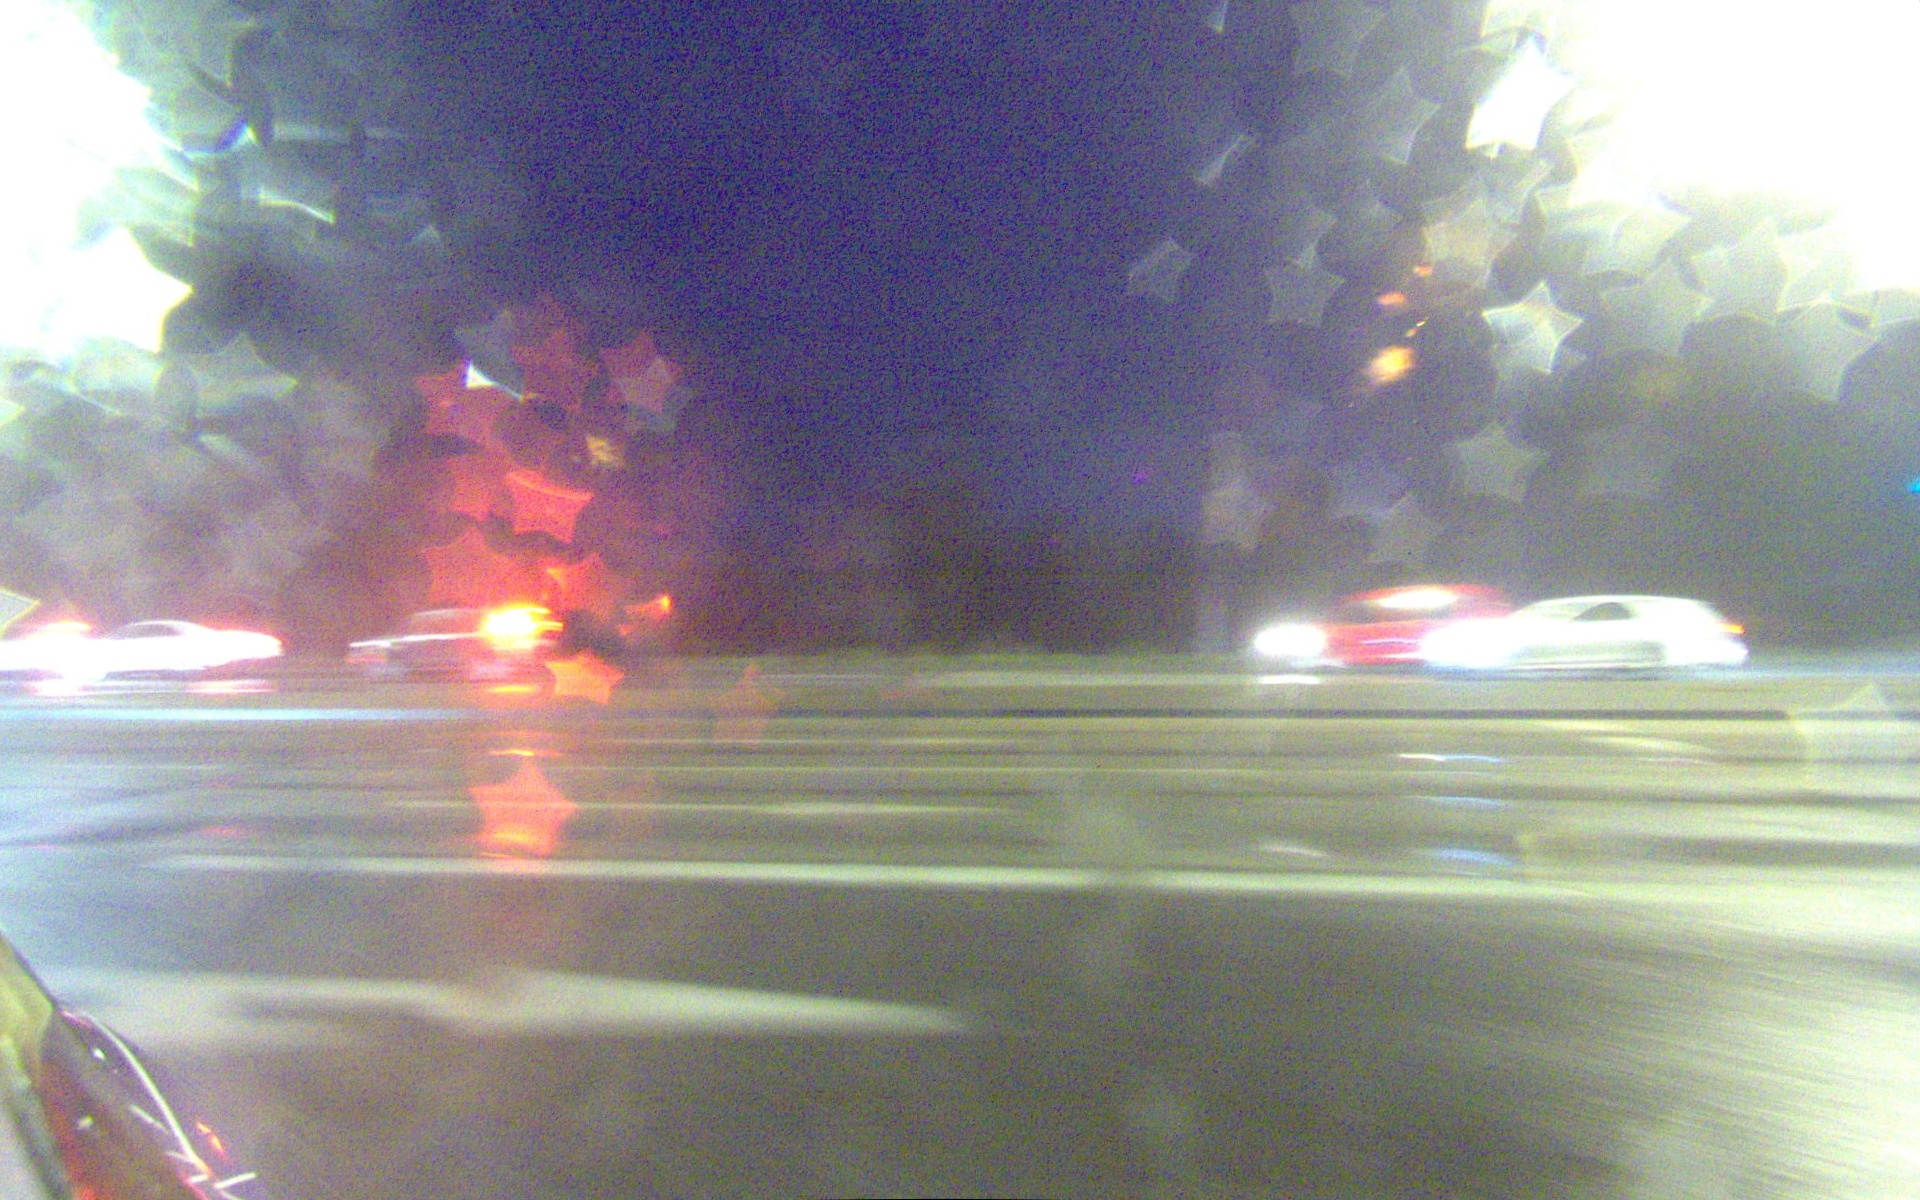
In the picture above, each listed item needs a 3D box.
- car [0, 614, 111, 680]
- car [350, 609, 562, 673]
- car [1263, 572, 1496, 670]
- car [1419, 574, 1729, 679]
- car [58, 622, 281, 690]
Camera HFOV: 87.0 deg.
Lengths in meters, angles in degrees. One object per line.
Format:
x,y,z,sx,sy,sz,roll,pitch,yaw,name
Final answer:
-24.694,1.221,26.483,4.098,1.614,1.494,-1,0,9,car
-10.244,0.815,20.683,3.572,1.212,1.645,-1,0,8,car
8.665,0.447,21.256,4.157,1.907,1.763,-1,0,9,car
10.546,0.448,17.700,4.197,1.620,1.782,-2,0,10,car
-19.561,1.380,25.124,4.380,1.542,1.884,-1,0,9,car
